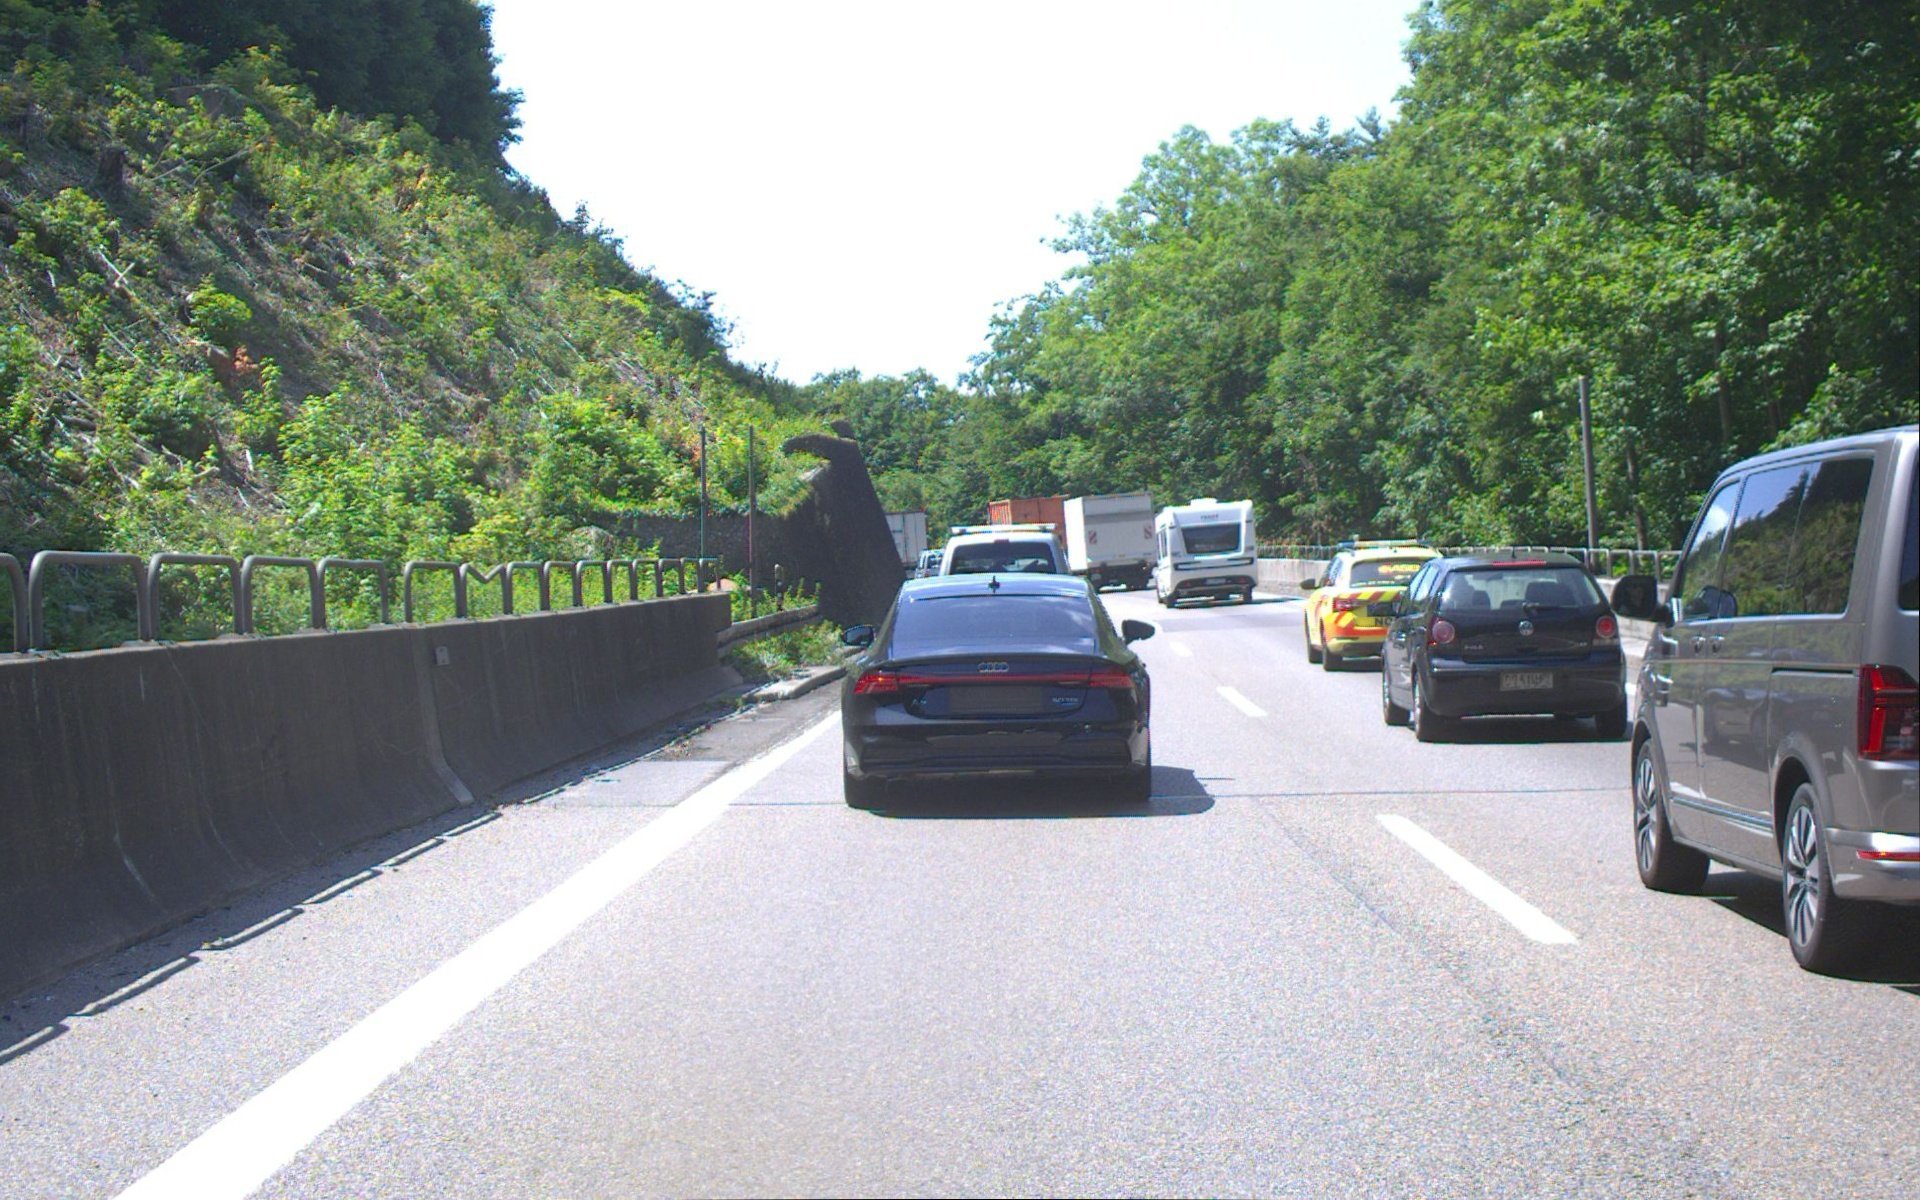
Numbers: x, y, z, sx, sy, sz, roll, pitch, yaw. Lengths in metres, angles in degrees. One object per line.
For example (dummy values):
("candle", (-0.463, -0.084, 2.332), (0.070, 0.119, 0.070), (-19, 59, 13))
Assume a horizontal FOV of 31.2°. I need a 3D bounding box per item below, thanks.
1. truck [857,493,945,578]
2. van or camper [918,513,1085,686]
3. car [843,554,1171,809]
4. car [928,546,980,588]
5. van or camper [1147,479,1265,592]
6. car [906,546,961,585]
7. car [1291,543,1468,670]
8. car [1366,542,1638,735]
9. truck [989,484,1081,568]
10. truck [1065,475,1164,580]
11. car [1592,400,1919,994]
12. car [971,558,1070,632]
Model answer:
("truck", (-3.258, -3.470, 186.658), (3.709, 4.488, 7.726), (1, 1, -9))
("van or camper", (0.536, -0.031, 40.671), (1.853, 1.935, 4.165), (0, 1, 2))
("car", (0.256, 0.452, 22.198), (1.905, 1.484, 4.379), (0, 1, 0))
("car", (-0.230, -1.241, 128.568), (1.751, 1.565, 3.771), (0, 1, -3))
("van or camper", (6.374, -1.673, 89.785), (2.603, 2.845, 6.336), (0, 1, 0))
("car", (-1.089, -1.426, 140.631), (1.750, 1.565, 3.772), (0, 1, -8))
("car", (5.093, 0.051, 42.151), (1.808, 1.473, 4.081), (0, 1, 2))
("car", (4.326, 0.270, 27.956), (1.685, 1.453, 4.000), (0, 1, 2))
("truck", (3.139, -3.092, 146.096), (3.163, 3.456, 8.223), (0, 1, -4))
("truck", (5.557, -2.586, 124.924), (2.925, 3.674, 7.725), (1, 1, -2))
("car", (3.843, 0.291, 13.472), (1.940, 1.924, 4.694), (0, 1, 1))
("car", (1.282, -0.128, 74.795), (1.895, 1.579, 3.771), (0, 1, -3))
